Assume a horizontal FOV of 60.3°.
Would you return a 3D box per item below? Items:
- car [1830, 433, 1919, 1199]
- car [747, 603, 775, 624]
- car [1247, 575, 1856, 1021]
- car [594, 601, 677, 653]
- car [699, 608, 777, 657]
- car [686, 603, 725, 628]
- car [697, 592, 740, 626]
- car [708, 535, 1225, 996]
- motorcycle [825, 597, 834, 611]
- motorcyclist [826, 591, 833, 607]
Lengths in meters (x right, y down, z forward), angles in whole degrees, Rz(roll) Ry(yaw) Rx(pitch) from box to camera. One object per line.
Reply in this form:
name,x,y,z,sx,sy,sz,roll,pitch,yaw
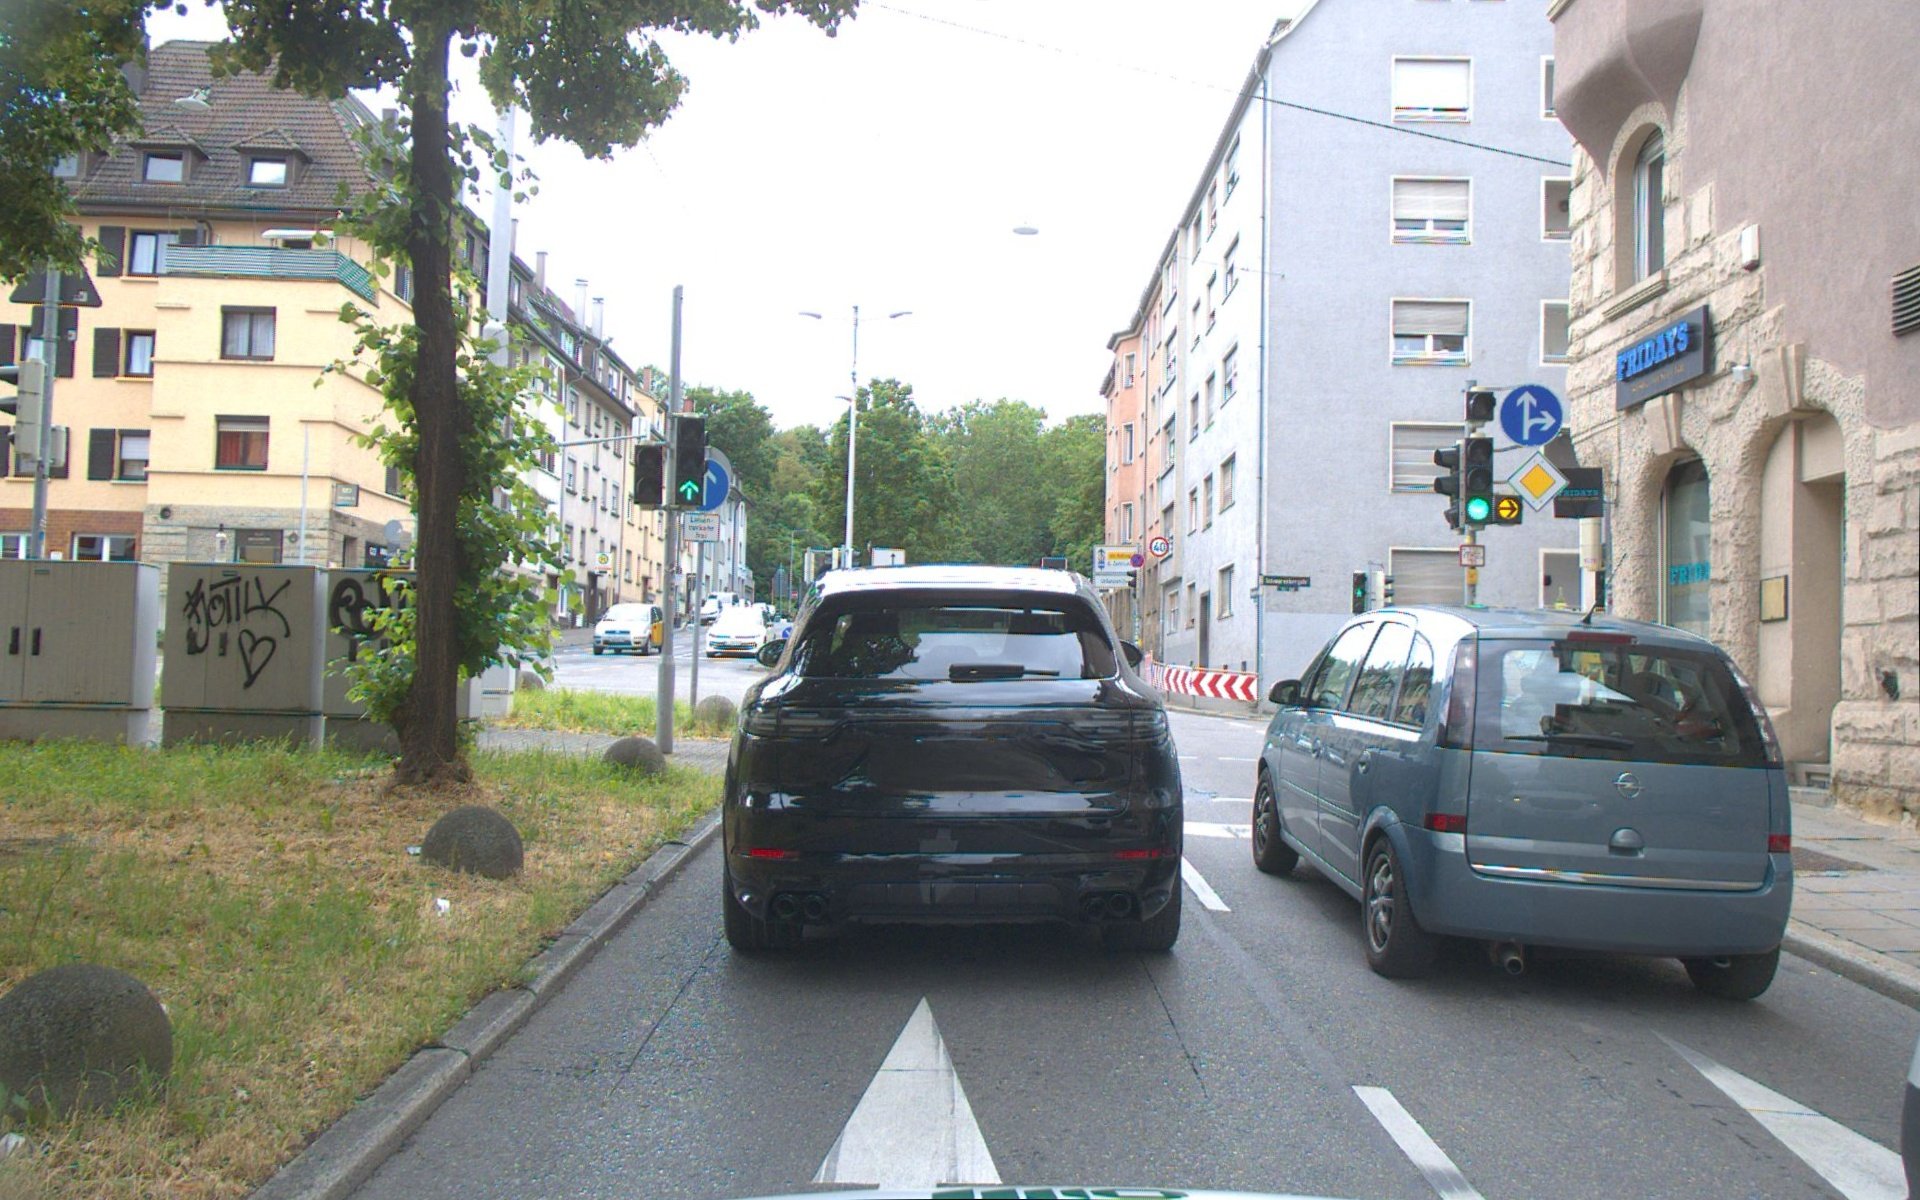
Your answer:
car,2.864,0.641,1.071,1.936,1.806,4.674,4,0,-2
car,-14.992,1.034,125.012,1.655,1.565,3.813,1,0,0
car,2.620,0.778,8.255,1.596,1.625,3.668,4,0,-1
car,-9.840,0.826,50.389,1.585,1.506,3.824,1,-1,3
car,-6.747,0.953,50.571,1.824,1.412,4.094,1,0,0
car,-15.128,0.906,98.394,1.703,1.411,3.813,1,0,0
car,-15.188,0.549,104.204,1.975,2.081,4.666,1,0,0
car,-0.002,0.624,8.150,1.916,1.704,3.999,0,0,-1
motorcycle,-9.855,0.295,124.976,0.501,1.058,1.389,1,0,0
motorcyclist,-9.850,-0.066,124.953,0.501,1.247,0.467,1,-1,-1
